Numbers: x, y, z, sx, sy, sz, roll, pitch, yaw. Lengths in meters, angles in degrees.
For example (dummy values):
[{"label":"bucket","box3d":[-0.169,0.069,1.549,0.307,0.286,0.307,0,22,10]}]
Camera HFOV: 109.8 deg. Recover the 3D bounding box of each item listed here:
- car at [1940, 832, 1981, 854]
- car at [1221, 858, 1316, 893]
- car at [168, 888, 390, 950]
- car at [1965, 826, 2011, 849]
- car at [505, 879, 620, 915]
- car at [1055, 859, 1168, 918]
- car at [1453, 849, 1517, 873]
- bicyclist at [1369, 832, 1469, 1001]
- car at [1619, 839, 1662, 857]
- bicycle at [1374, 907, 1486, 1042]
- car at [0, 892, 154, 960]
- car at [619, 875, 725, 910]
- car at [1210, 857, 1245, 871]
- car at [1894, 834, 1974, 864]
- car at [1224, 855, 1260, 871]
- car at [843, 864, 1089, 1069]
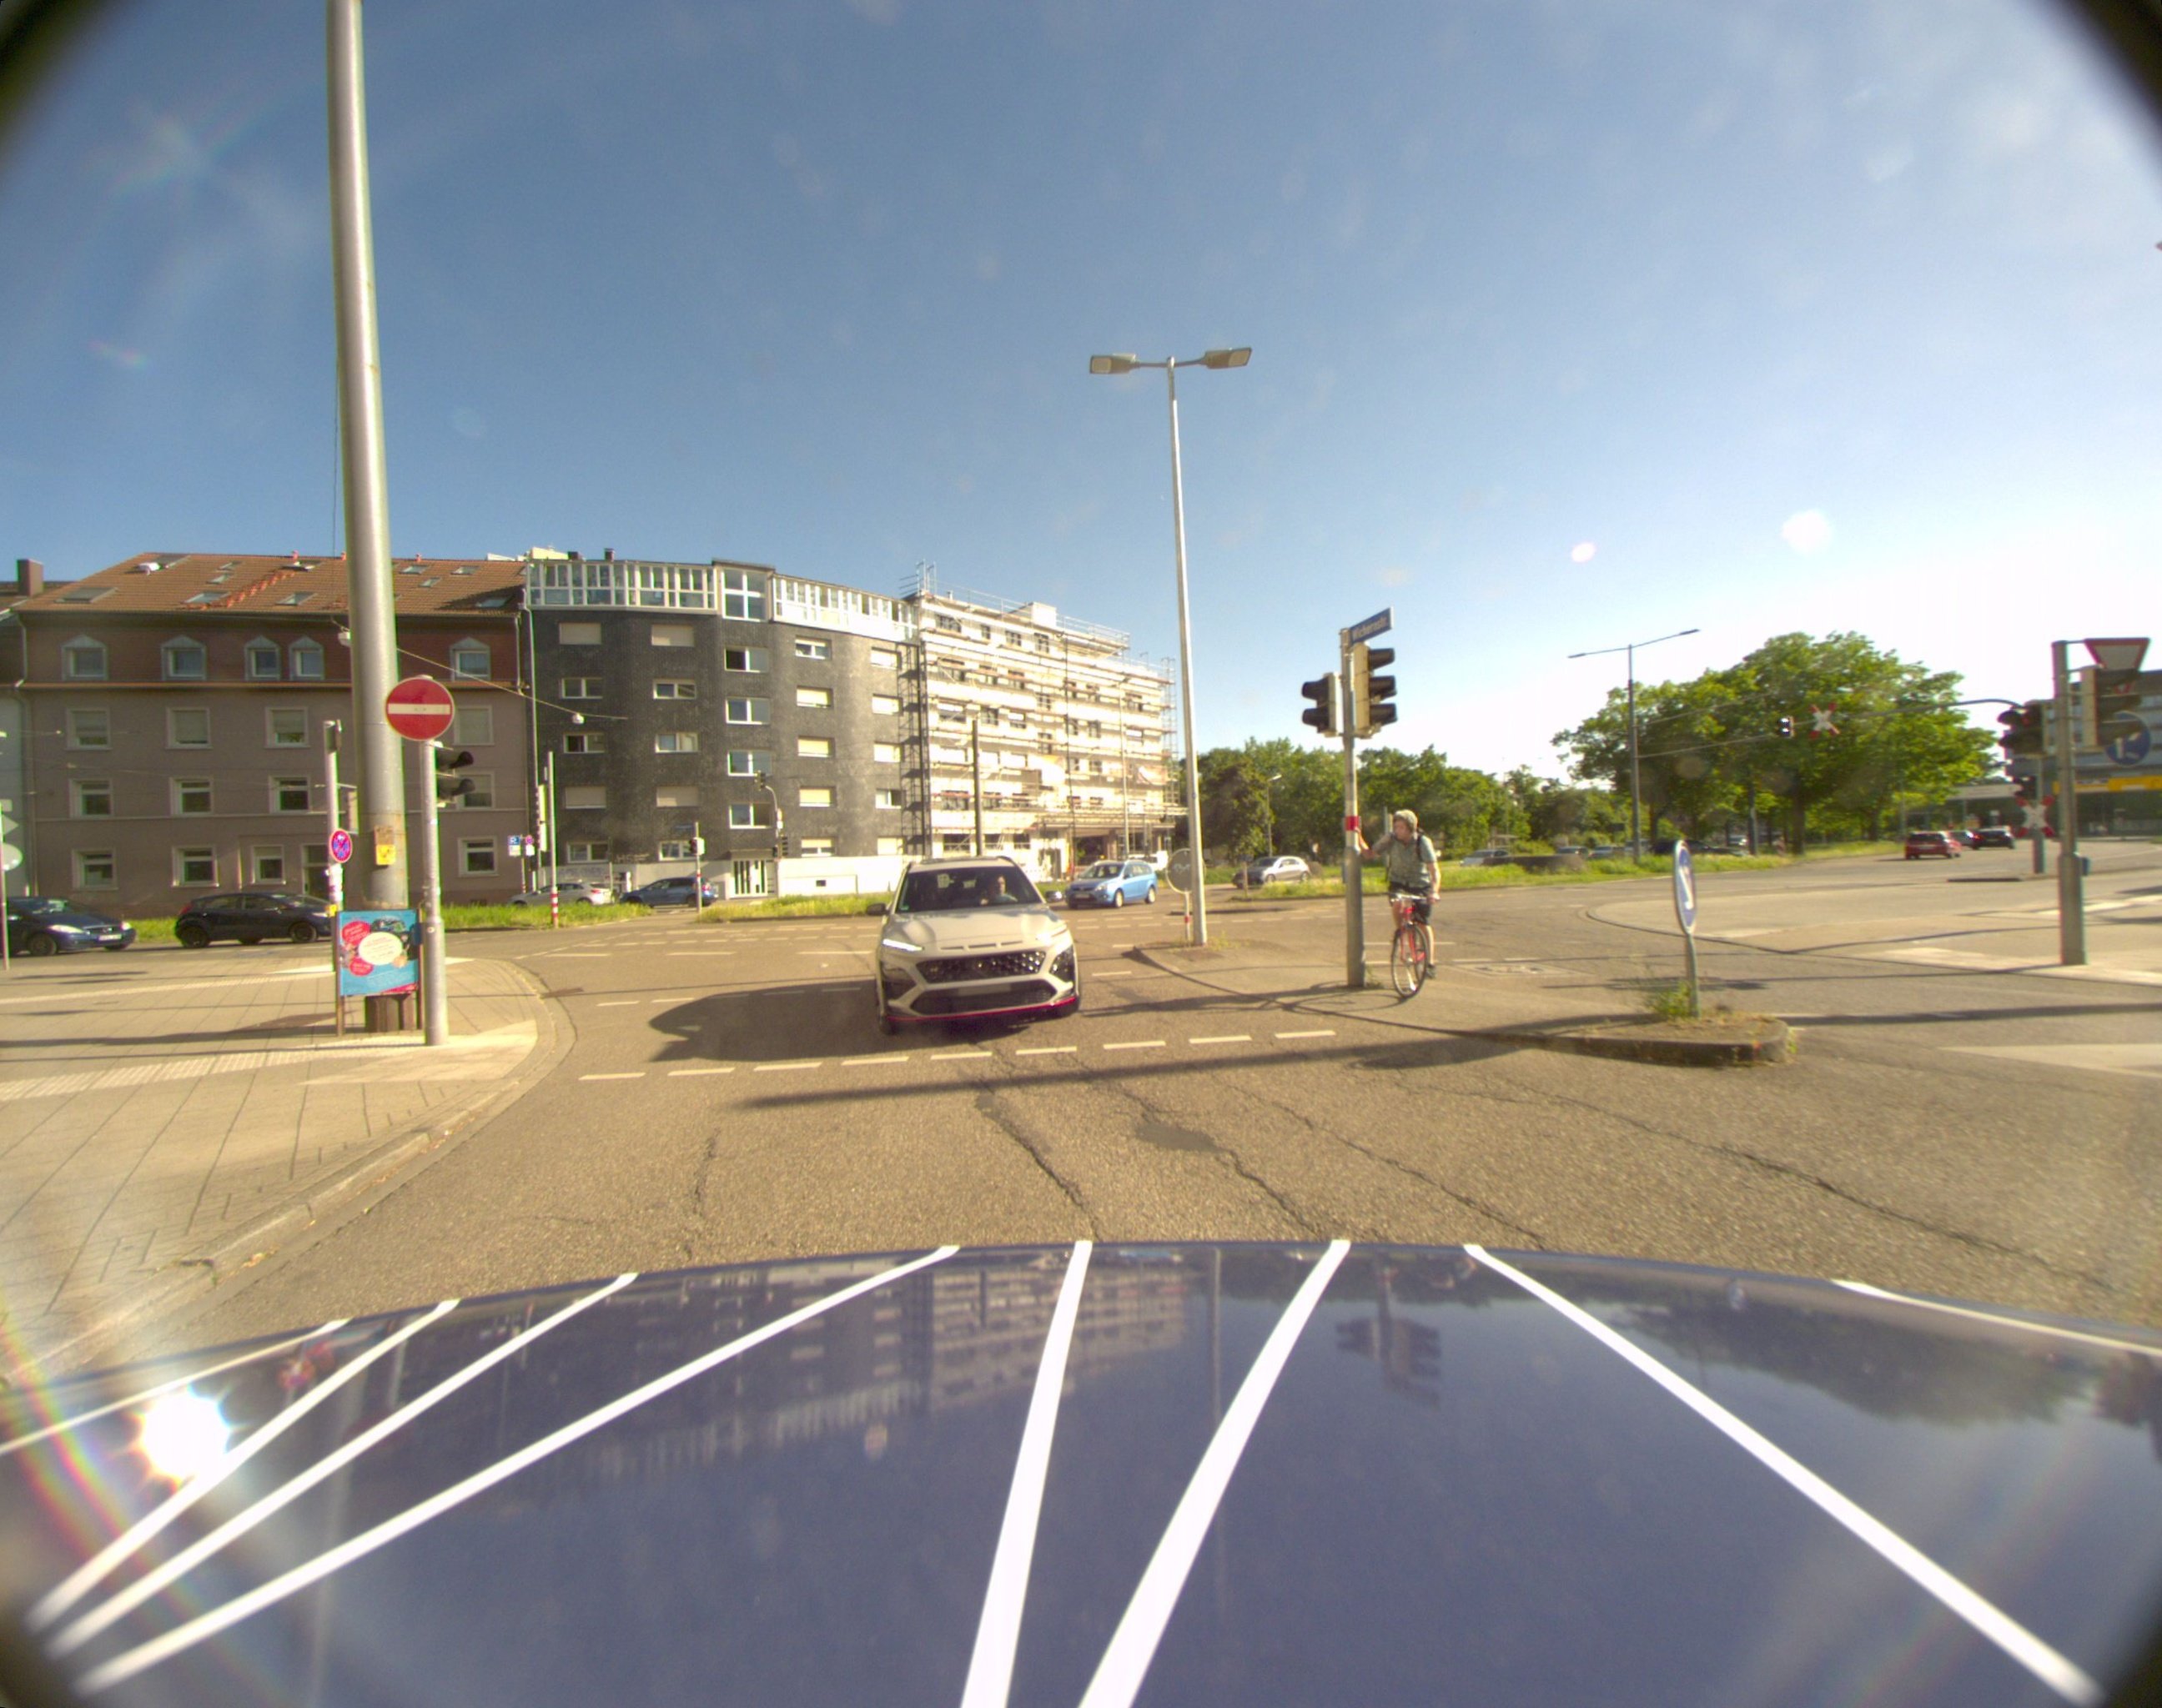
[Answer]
[{"label":"car","box3d":[71.494,-0.872,61.789,4.494,1.652,1.995,-1,0,-43]},{"label":"car","box3d":[8.792,0.974,35.379,4.493,1.447,1.869,-1,0,-38]},{"label":"car","box3d":[-21.798,1.735,20.789,3.999,1.444,1.734,-2,-1,-6]},{"label":"car","box3d":[63.541,-1.146,53.215,4.493,1.543,1.995,-1,0,-39]},{"label":"car","box3d":[-23.692,1.953,34.850,3.999,1.407,1.687,-2,0,-8]},{"label":"car","box3d":[1.137,1.089,25.555,1.869,1.765,4.493,-2,0,30]},{"label":"car","box3d":[26.161,0.456,49.185,4.493,1.447,1.869,-1,0,-37]},{"label":"bicyclist","box3d":[3.258,0.583,7.385,0.826,1.555,0.597,-1,0,21]},{"label":"car","box3d":[49.541,-0.529,67.253,4.493,1.447,1.869,-1,0,-37]},{"label":"bicycle","box3d":[3.284,1.069,7.324,0.827,0.980,1.949,-1,0,21]},{"label":"car","box3d":[-27.442,1.883,19.871,3.999,1.571,1.658,-2,0,-6]},{"label":"car","box3d":[-19.078,1.783,35.590,3.999,1.407,1.687,-2,0,-8]},{"label":"car","box3d":[15.878,1.077,82.423,3.692,1.386,1.817,-1,0,-42]},{"label":"car","box3d":[47.010,-0.267,41.860,4.491,1.543,1.996,-1,0,-29]},{"label":"car","box3d":[17.033,0.926,80.457,3.692,1.574,1.817,-1,0,-42]},{"label":"car","box3d":[-1.259,0.907,8.297,1.906,1.543,4.481,-2,0,-9]}]
